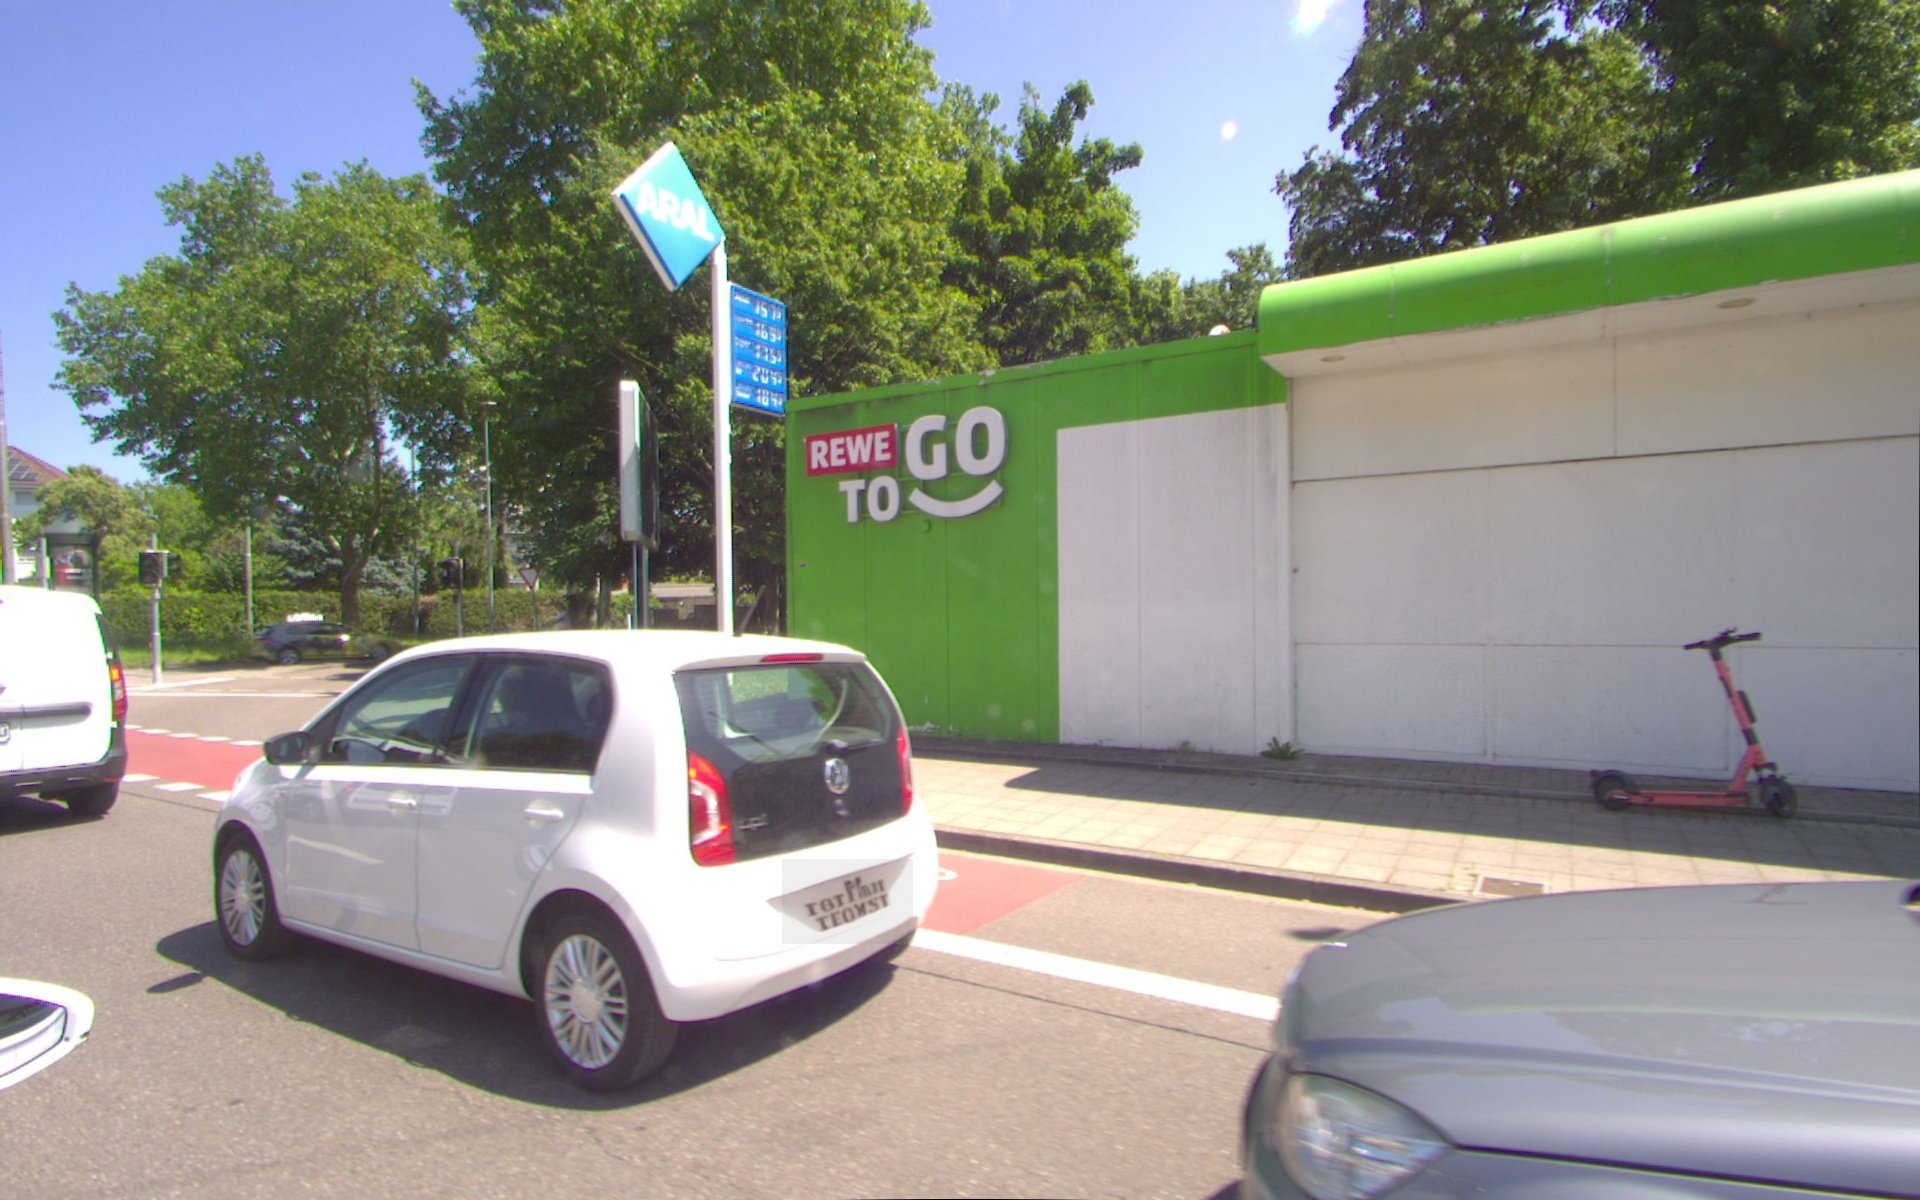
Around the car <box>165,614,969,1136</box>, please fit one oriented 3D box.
[{"bbox_3d":[-1.848,0.810,4.450,3.471,1.470,1.603,-1,0,33],"label":"car"}]

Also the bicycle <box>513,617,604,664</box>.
[{"bbox_3d":[-11.427,1.128,28.574,0.877,1.285,2.250,0,0,42],"label":"bicycle"}]

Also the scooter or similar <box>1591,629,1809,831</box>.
[{"bbox_3d":[4.840,0.810,6.600,1.124,1.211,0.381,-1,3,36],"label":"scooter or similar"}]

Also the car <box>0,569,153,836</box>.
[{"bbox_3d":[-8.363,0.736,7.976,3.953,1.854,1.708,-1,0,30],"label":"car"}]

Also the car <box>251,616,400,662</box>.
[{"bbox_3d":[-21.067,1.261,33.334,3.963,1.397,1.529,0,-1,-44],"label":"car"}]

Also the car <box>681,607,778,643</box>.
[{"bbox_3d":[-11.228,1.198,49.044,1.974,1.638,4.427,-1,0,36],"label":"car"}]

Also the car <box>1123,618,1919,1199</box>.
[{"bbox_3d":[2.562,0.760,1.153,4.355,1.468,1.792,-1,0,33],"label":"car"}]

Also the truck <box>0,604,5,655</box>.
[{"bbox_3d":[-41.422,1.178,38.564,6.659,2.040,2.285,0,-1,-43],"label":"truck"}]

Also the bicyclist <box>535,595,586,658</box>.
[{"bbox_3d":[-11.406,0.751,28.587,1.119,1.761,0.949,0,0,42],"label":"bicyclist"}]
